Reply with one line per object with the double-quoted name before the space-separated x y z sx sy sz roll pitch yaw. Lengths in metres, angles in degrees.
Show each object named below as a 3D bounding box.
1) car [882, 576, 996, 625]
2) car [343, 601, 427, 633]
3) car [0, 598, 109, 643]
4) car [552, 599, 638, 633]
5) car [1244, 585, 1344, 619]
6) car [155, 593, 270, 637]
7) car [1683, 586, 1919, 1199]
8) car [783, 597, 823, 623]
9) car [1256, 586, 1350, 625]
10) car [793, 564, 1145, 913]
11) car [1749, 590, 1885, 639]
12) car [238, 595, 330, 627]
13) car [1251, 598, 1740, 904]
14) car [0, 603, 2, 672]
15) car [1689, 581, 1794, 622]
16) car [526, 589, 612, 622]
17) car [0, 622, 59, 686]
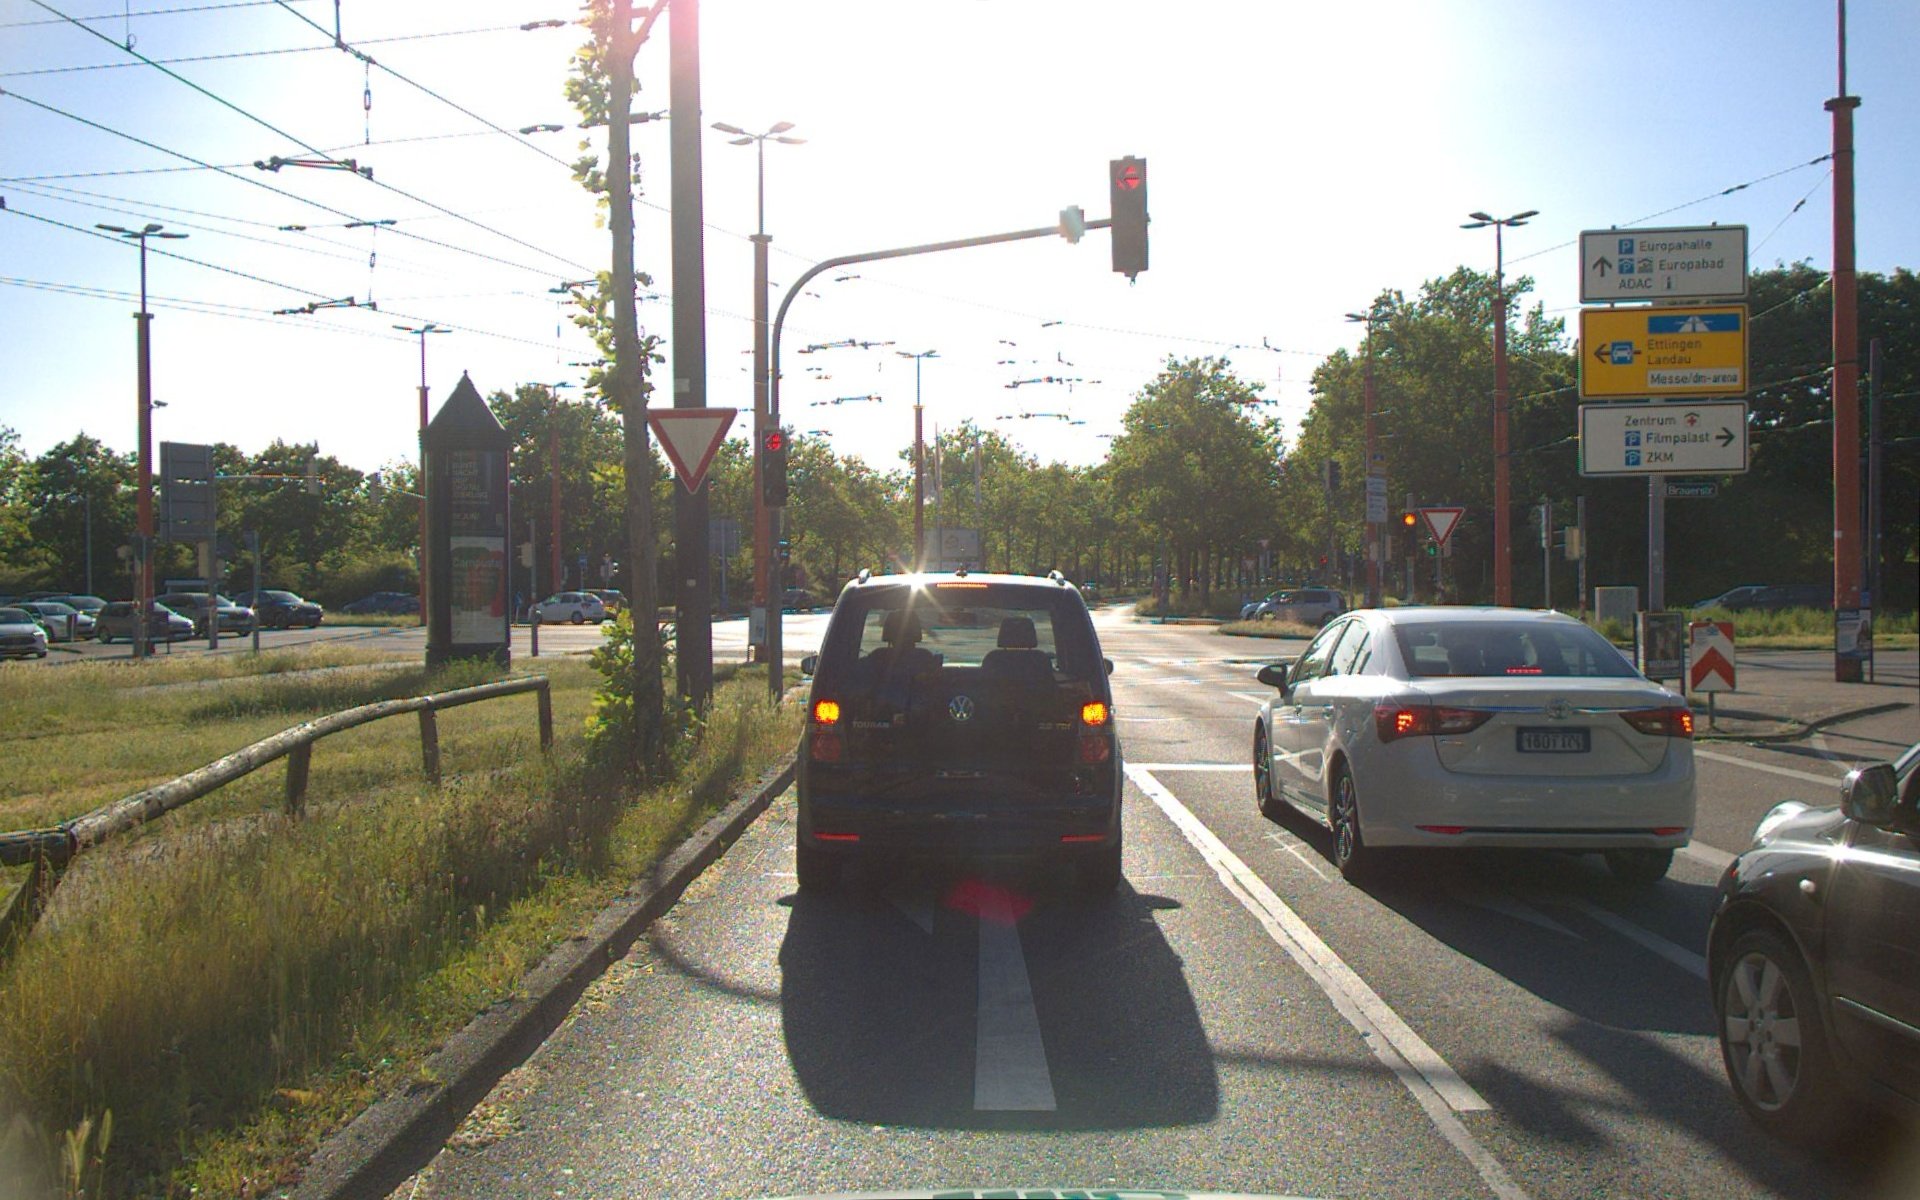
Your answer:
"car" -0.886 0.027 70.767 4.478 2.049 1.999 0 0 24
"car" -29.576 0.863 85.043 4.039 1.626 1.827 0 0 27
"car" -34.705 0.765 63.131 4.091 1.640 1.867 0 0 25
"car" -18.594 0.794 84.239 4.039 1.672 1.851 0 0 26
"car" 13.630 0.071 67.517 3.751 1.286 1.602 1 0 23
"car" -28.979 0.571 64.111 3.907 1.673 1.999 0 0 24
"car" 3.182 0.743 3.593 1.620 1.526 3.614 1 0 0
"car" -10.662 0.673 112.477 1.874 1.664 4.003 1 0 6
"car" 13.105 0.212 63.230 3.325 1.483 1.464 0 0 23
"car" 0.010 0.646 9.806 1.666 1.650 3.896 0 0 -1
"car" 28.893 0.465 55.896 3.942 1.624 2.000 0 0 23
"car" -29.273 0.471 71.595 3.913 1.353 1.694 0 0 31
"car" 2.973 0.730 10.145 1.685 1.463 4.198 1 0 1
"car" -20.532 0.785 32.516 1.762 1.415 2.848 0 0 -1
"car" 28.180 0.049 59.710 3.368 1.392 1.289 1 0 26
"car" -18.656 0.240 78.887 3.743 1.549 1.694 0 0 25
"car" -28.740 1.597 49.786 1.981 1.761 4.775 0 0 -40
